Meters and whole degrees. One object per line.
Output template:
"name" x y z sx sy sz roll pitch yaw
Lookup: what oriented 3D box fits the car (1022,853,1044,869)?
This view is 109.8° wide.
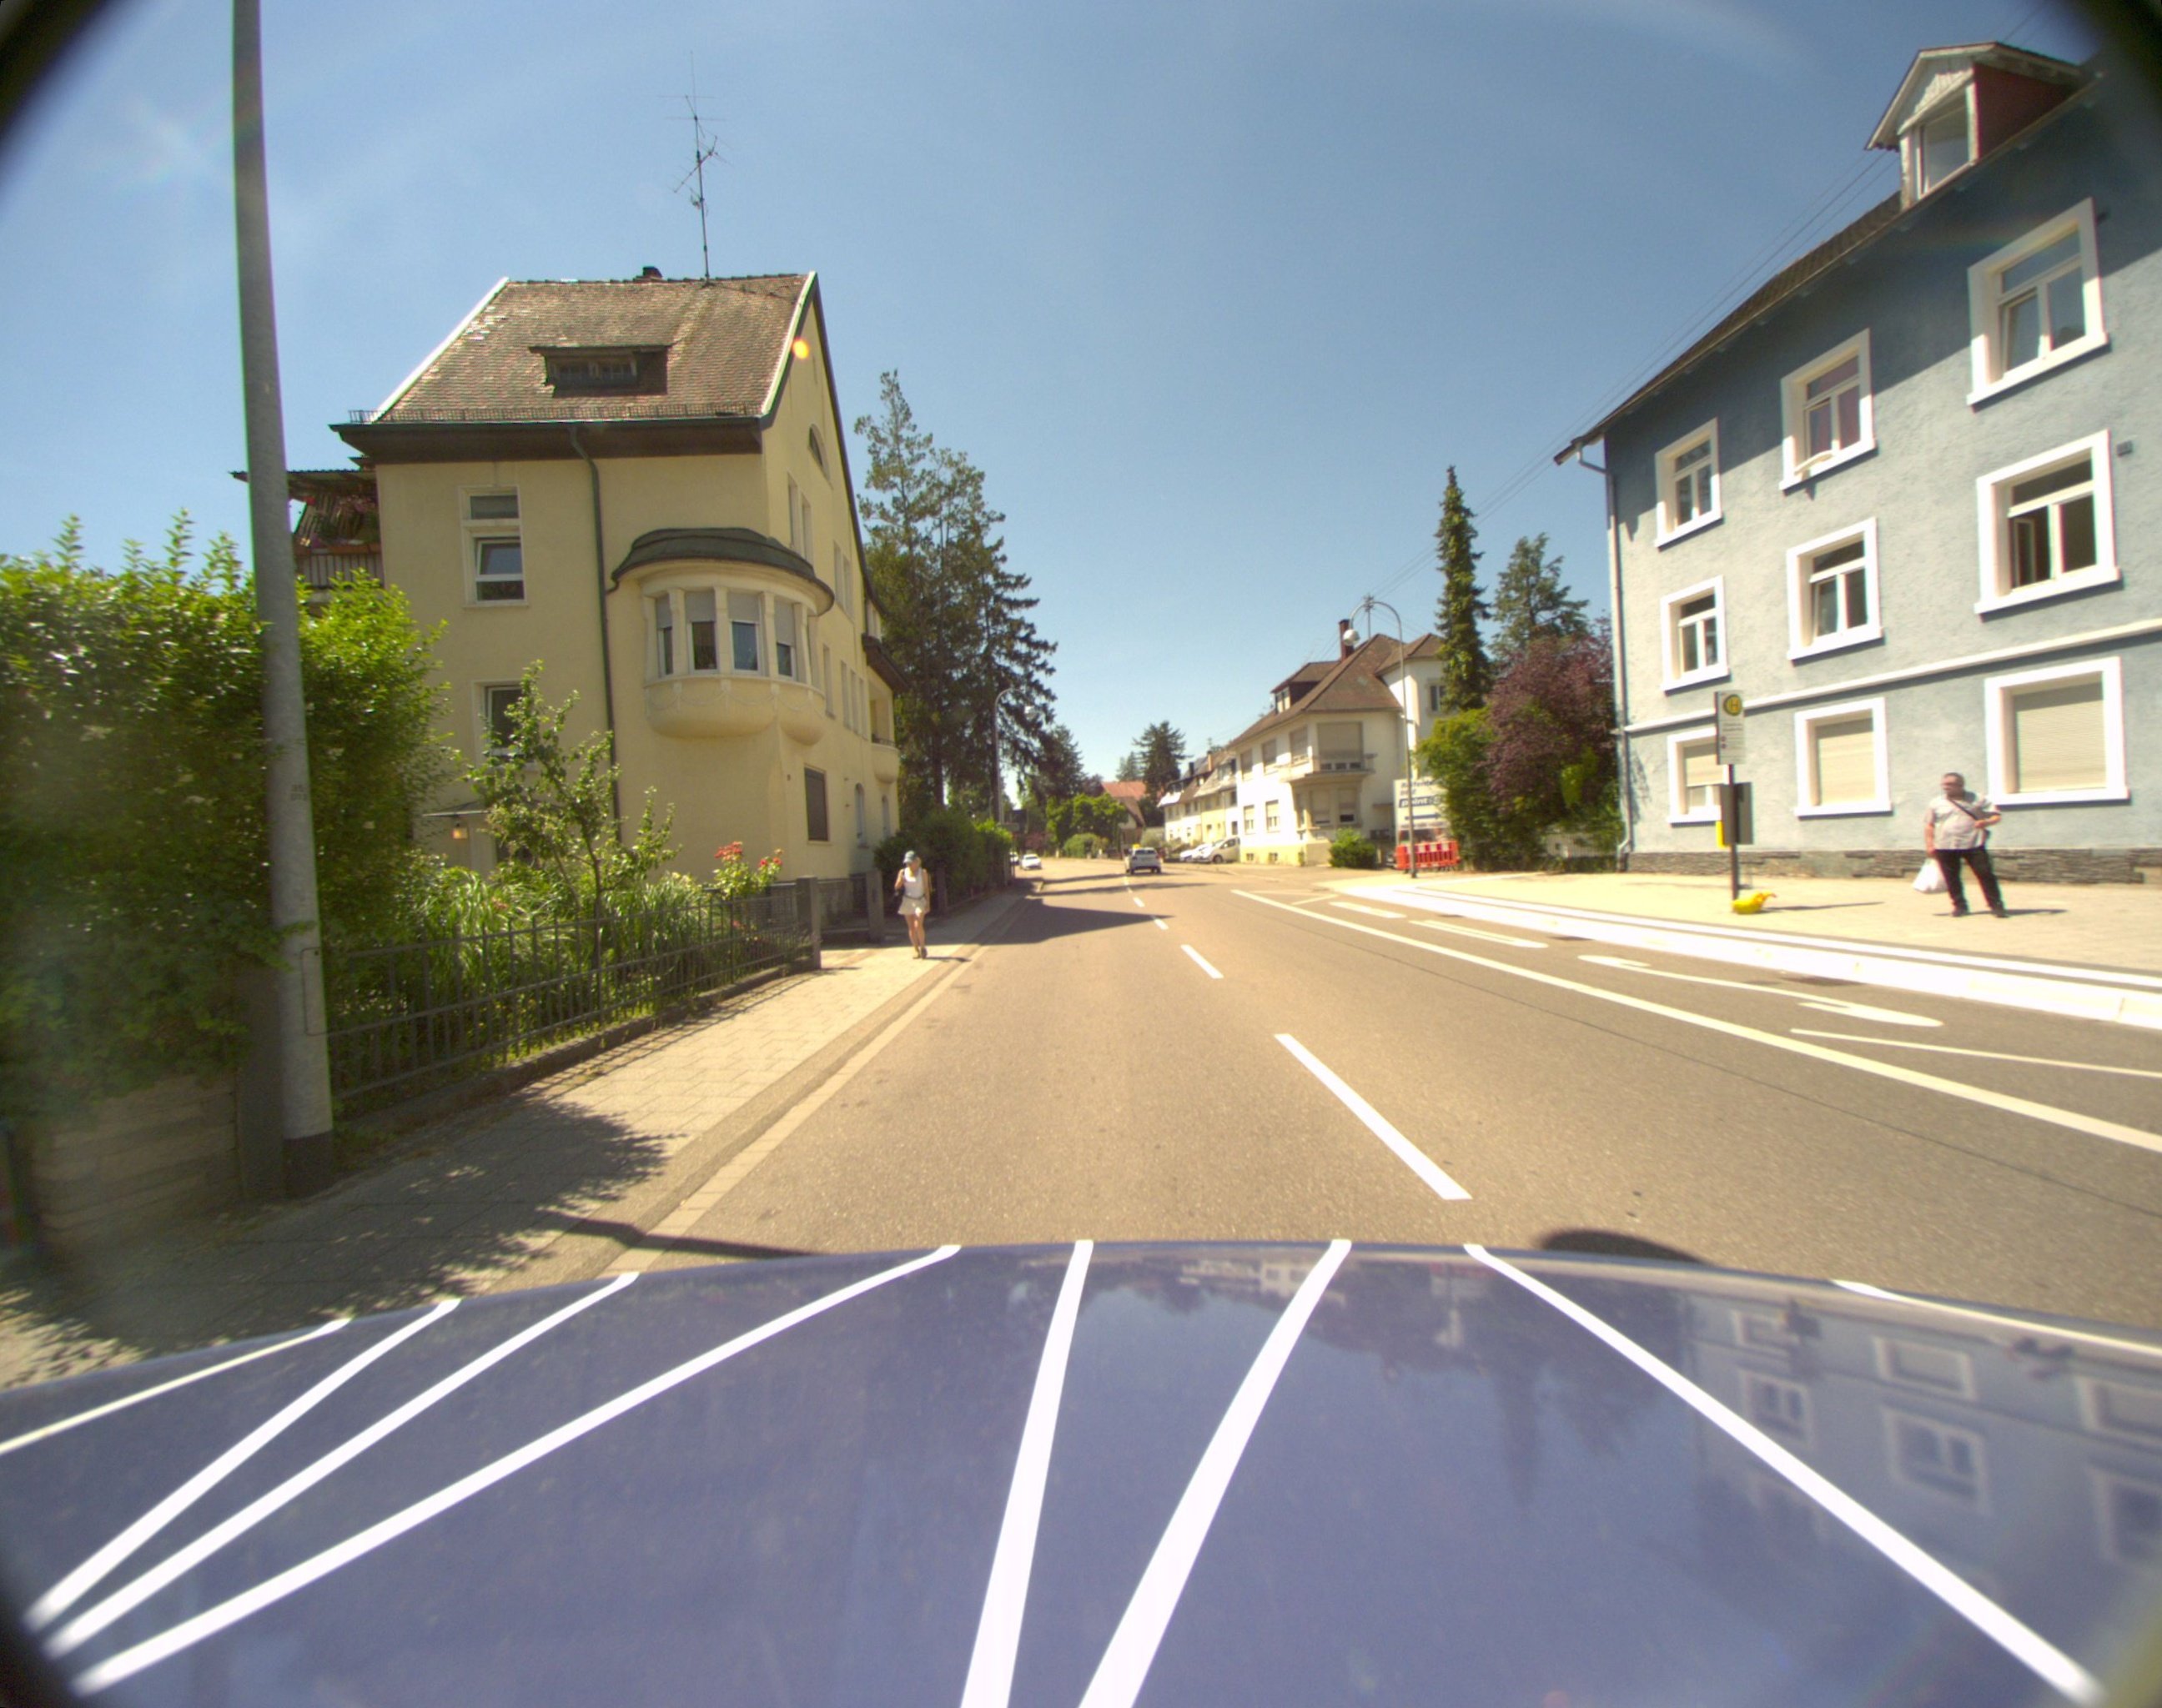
"car" -4.669 0.653 73.157 1.689 1.446 3.737 -5 1 -8

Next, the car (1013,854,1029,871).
"car" -7.709 1.054 98.183 1.689 1.770 3.937 -4 3 -2

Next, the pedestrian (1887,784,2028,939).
"pedestrian" 11.222 0.099 9.754 0.758 1.837 0.771 -6 0 -7

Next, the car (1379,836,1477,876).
"car" 16.284 0.082 35.670 3.936 1.528 1.565 -2 -7 -15

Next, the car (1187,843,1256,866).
"car" 10.033 0.046 54.550 4.484 1.486 1.975 -1 0 -4

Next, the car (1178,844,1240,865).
"car" 9.676 0.039 57.612 4.264 1.486 1.880 -1 0 26

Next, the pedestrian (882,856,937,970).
"pedestrian" -2.567 0.859 11.416 0.625 1.634 0.771 2 1 -3

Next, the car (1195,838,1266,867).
"car" 10.233 -0.128 52.108 4.367 1.866 1.848 -1 0 -13

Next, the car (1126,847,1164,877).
"car" 3.760 0.432 45.441 1.825 1.521 3.948 -3 2 -1
